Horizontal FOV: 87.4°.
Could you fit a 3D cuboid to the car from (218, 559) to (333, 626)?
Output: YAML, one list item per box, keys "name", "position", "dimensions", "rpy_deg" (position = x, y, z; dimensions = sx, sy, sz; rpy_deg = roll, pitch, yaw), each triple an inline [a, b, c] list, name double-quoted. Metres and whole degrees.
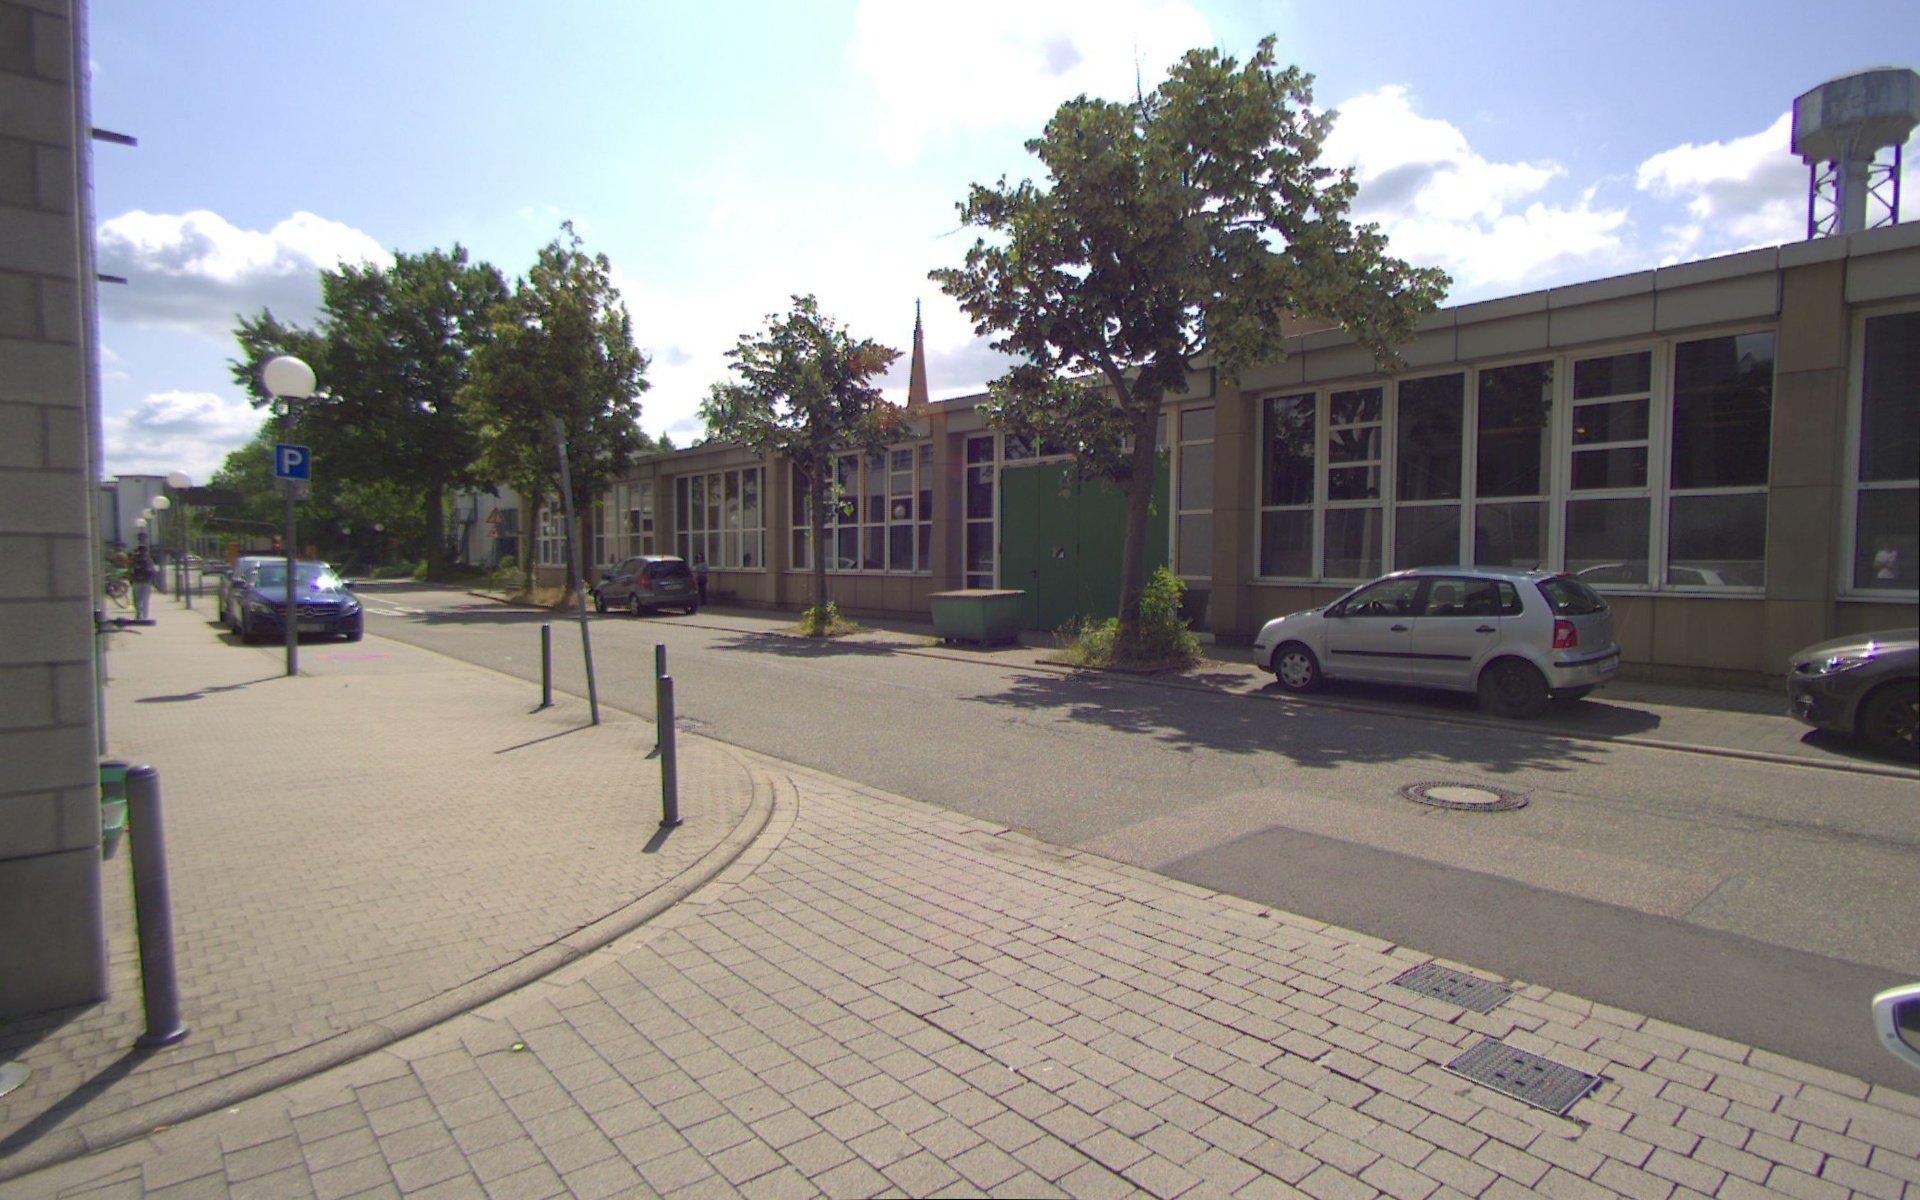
- name: "car"
  position: [-15.828, -0.176, 23.144]
  dimensions: [1.829, 1.417, 3.832]
  rpy_deg: [0, 0, -40]

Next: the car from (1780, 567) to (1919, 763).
- name: "car"
  position: [8.889, 0.507, 7.366]
  dimensions: [1.717, 1.455, 4.238]
  rpy_deg: [-5, 4, -41]

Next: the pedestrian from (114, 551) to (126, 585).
- name: "pedestrian"
  position: [-41.528, -1.592, 49.656]
  dimensions: [0.438, 1.651, 0.563]
  rpy_deg: [2, 0, -40]

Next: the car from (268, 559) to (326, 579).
- name: "car"
  position: [-53.352, -2.516, 80.842]
  dimensions: [3.648, 1.469, 1.782]
  rpy_deg: [-6, 5, -42]

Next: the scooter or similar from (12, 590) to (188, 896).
- name: "scooter or similar"
  position: [-4.197, 0.595, 4.909]
  dimensions: [0.560, 1.228, 1.492]
  rpy_deg: [1, 1, -41]

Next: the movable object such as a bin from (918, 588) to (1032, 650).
- name: "movable object such as a bin"
  position: [0.255, 0.312, 18.312]
  dimensions: [1.285, 0.998, 1.676]
  rpy_deg: [-5, 4, -40]

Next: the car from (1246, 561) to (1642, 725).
- name: "car"
  position: [5.302, 0.333, 11.357]
  dimensions: [1.622, 1.469, 3.707]
  rpy_deg: [-5, 5, -41]

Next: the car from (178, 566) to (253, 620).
- name: "car"
  position: [-25.511, -0.251, 34.359]
  dimensions: [1.786, 1.724, 3.953]
  rpy_deg: [2, 0, -40]

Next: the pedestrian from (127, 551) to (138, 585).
- name: "pedestrian"
  position: [-41.174, -1.578, 49.953]
  dimensions: [0.380, 1.651, 0.513]
  rpy_deg: [2, 0, -40]

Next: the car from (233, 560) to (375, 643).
- name: "car"
  position: [-12.504, 0.008, 19.046]
  dimensions: [1.829, 1.417, 3.832]
  rpy_deg: [0, 0, -40]

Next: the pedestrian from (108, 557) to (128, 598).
- name: "pedestrian"
  position: [-29.901, -0.796, 35.663]
  dimensions: [0.460, 1.427, 0.460]
  rpy_deg: [2, 0, -35]

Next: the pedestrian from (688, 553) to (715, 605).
- name: "pedestrian"
  position: [-8.005, -0.639, 31.113]
  dimensions: [0.601, 1.602, 0.544]
  rpy_deg: [1, 1, -43]

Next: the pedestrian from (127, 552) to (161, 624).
- name: "pedestrian"
  position: [-18.526, -0.278, 22.808]
  dimensions: [0.547, 1.602, 0.598]
  rpy_deg: [1, 1, -44]

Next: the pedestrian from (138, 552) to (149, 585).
- name: "pedestrian"
  position: [-40.850, -1.566, 50.236]
  dimensions: [0.380, 1.651, 0.513]
  rpy_deg: [2, 0, -40]

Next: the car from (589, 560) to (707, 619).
- name: "car"
  position: [-8.780, -0.352, 28.143]
  dimensions: [1.790, 1.469, 3.631]
  rpy_deg: [-5, 5, -41]

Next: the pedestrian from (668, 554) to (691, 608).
- name: "pedestrian"
  position: [-8.513, -0.570, 30.507]
  dimensions: [0.595, 1.602, 0.550]
  rpy_deg: [1, 1, -10]
